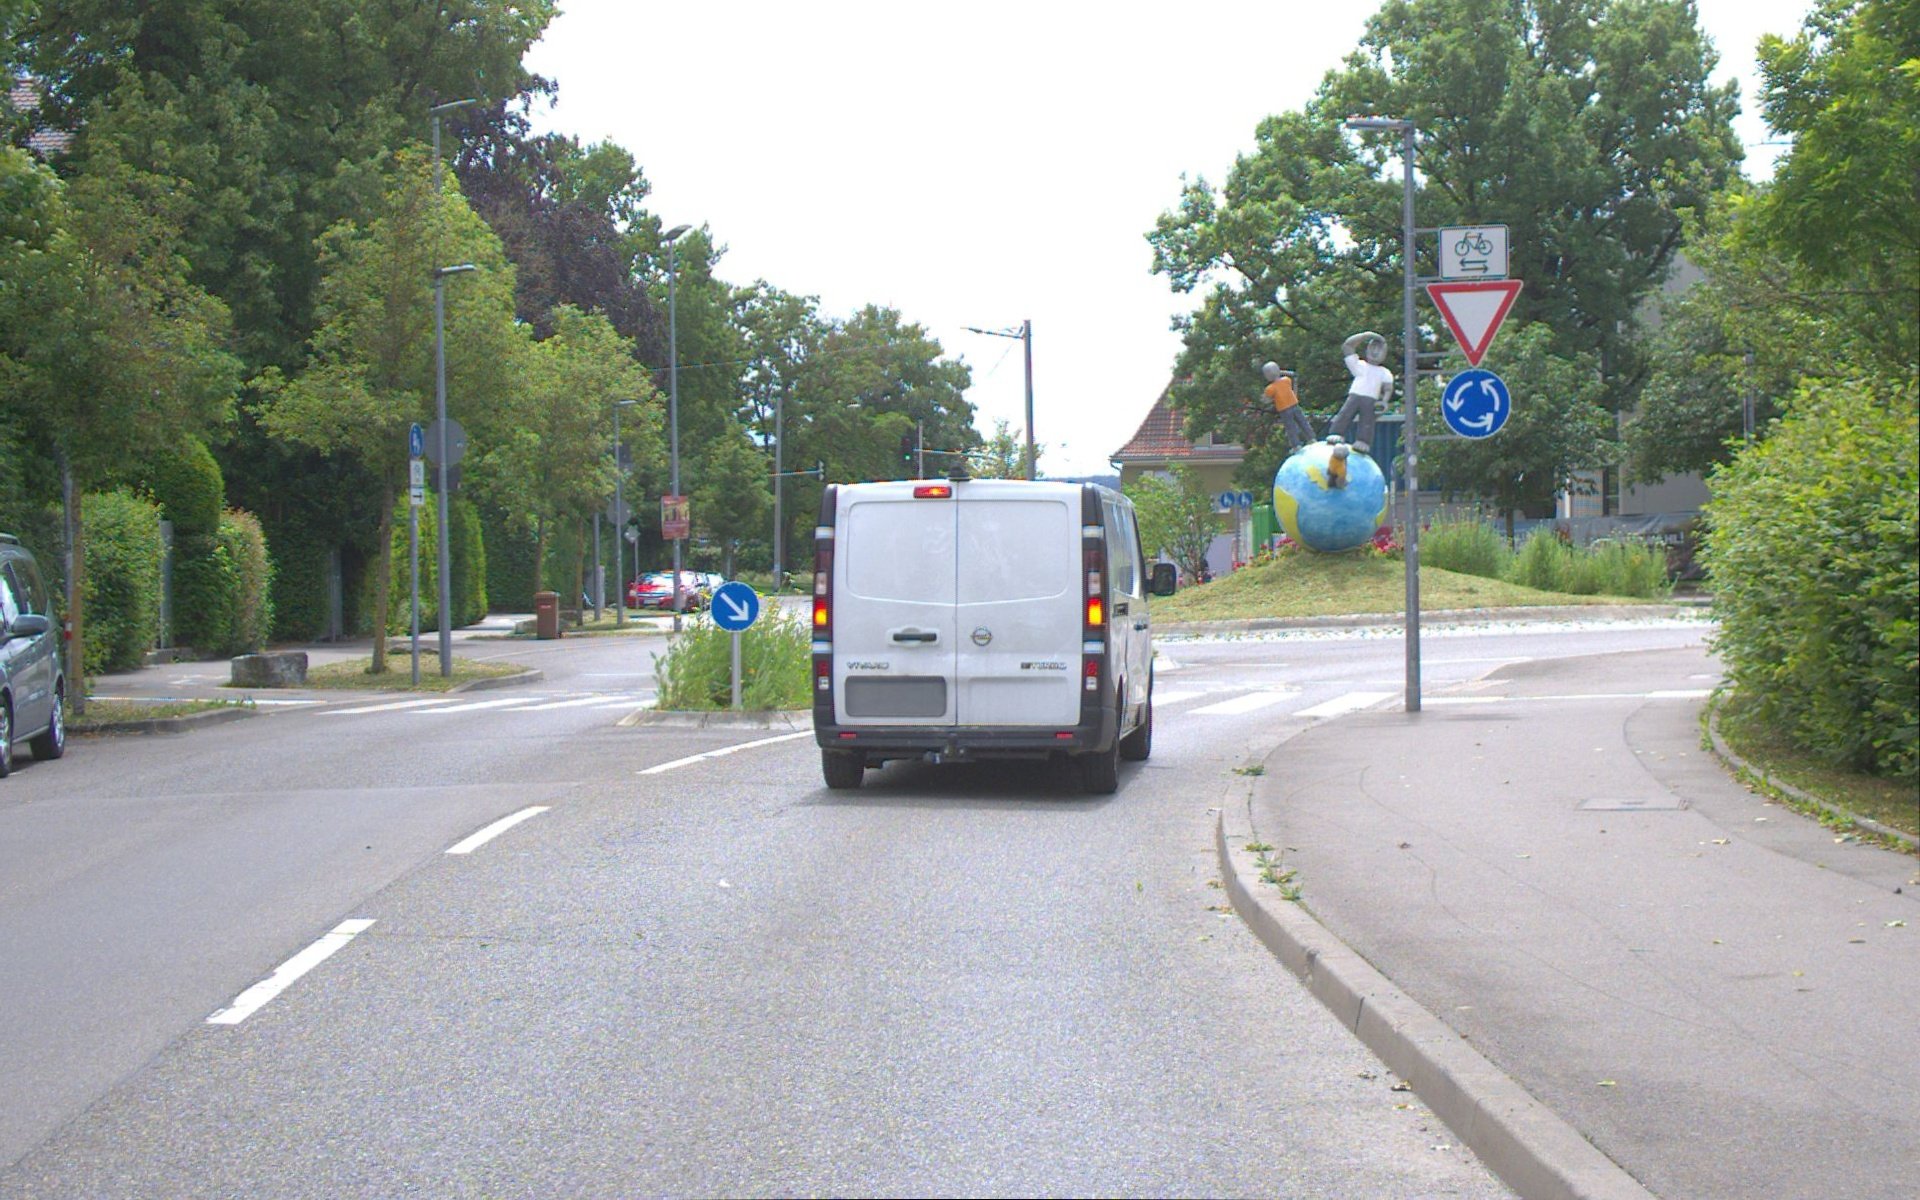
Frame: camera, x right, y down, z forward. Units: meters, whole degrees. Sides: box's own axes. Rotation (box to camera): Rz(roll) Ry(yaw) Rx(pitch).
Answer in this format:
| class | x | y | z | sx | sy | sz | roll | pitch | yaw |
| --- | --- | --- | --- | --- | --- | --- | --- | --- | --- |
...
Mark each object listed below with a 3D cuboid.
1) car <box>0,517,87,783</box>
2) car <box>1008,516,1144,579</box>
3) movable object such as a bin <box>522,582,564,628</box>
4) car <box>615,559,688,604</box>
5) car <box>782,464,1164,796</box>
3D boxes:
| class | x | y | z | sx | sy | sz | roll | pitch | yaw |
| --- | --- | --- | --- | --- | --- | --- | --- | --- | --- |
| car | -7.779 | 0.276 | 25.291 | 2.131 | 1.766 | 4.466 | 1 | 1 | -8 |
| car | 2.967 | -1.368 | 88.534 | 1.932 | 1.532 | 3.926 | -1 | 2 | -25 |
| movable object such as a bin | -8.186 | 0.092 | 67.477 | 0.630 | 0.860 | 0.640 | -2 | 1 | 10 |
| car | -10.335 | -0.624 | 114.886 | 2.062 | 1.381 | 4.049 | -1 | 2 | -10 |
| car | 0.214 | 0.113 | 22.929 | 2.035 | 1.938 | 4.993 | 1 | 1 | 6 |
